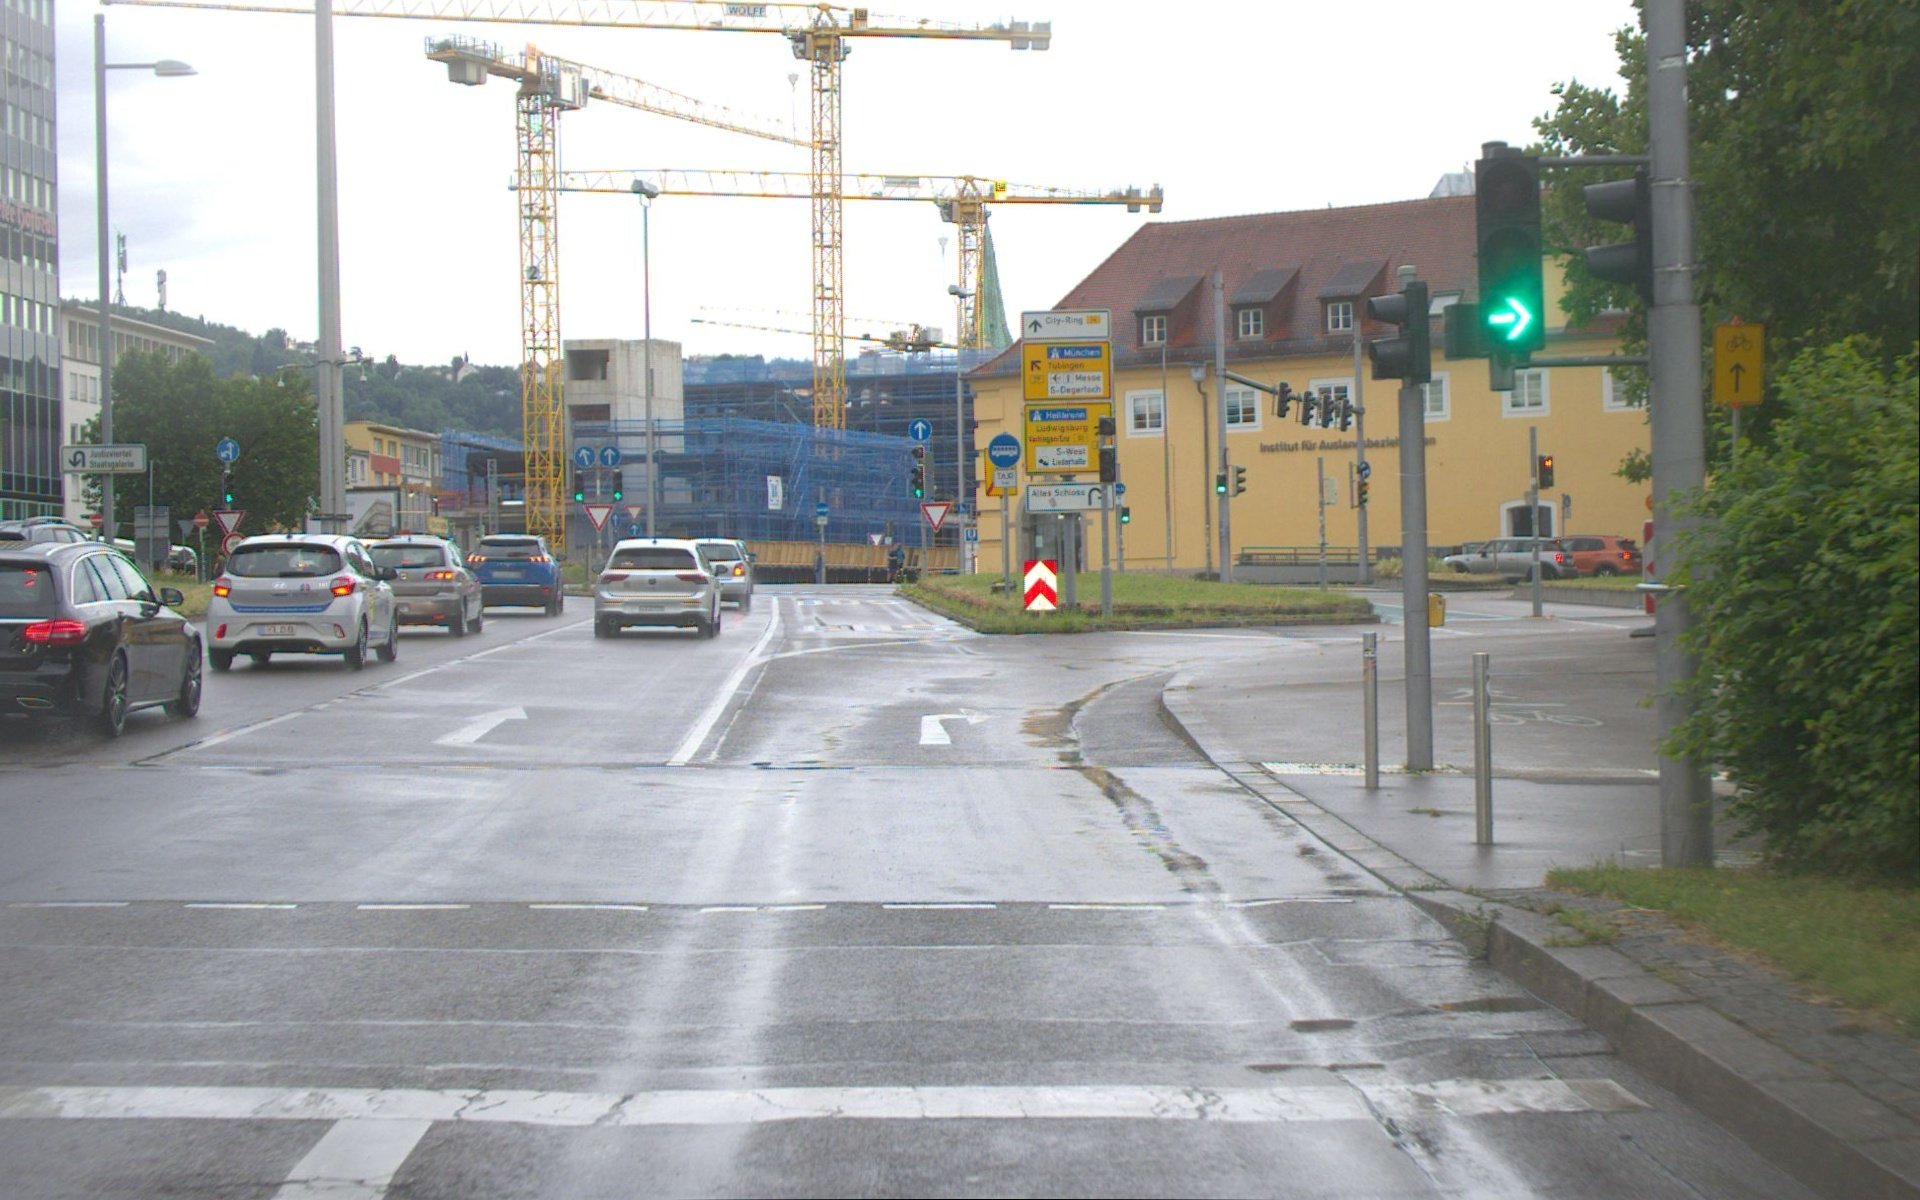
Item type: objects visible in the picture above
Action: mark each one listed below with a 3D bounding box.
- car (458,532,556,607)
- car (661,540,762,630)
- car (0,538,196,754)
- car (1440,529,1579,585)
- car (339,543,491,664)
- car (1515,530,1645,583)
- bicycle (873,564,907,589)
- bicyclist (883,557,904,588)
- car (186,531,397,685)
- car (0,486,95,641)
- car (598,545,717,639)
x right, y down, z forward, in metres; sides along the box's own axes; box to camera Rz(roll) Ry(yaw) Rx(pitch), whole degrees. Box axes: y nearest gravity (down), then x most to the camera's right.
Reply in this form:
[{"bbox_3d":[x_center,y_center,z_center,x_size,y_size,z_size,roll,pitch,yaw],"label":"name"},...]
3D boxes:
[{"bbox_3d":[-8.500,-0.561,64.640,1.493,1.365,3.033,0,0,-1],"label":"car"},{"bbox_3d":[-5.184,-0.332,71.976,1.667,1.735,3.287,1,3,4],"label":"car"},{"bbox_3d":[-7.047,0.292,25.745,1.830,1.489,3.399,0,1,1],"label":"car"},{"bbox_3d":[15.095,-1.172,94.370,3.406,1.477,1.832,0,0,25],"label":"car"},{"bbox_3d":[-7.981,0.060,50.583,1.716,1.721,3.494,0,0,-1],"label":"car"},{"bbox_3d":[17.904,-1.242,99.206,3.403,1.467,1.651,0,0,24],"label":"car"},{"bbox_3d":[-2.837,-0.949,139.498,0.880,1.006,1.993,0,0,-16],"label":"bicycle"},{"bbox_3d":[-2.705,-1.113,139.296,0.703,1.271,0.635,0,0,-16],"label":"bicyclist"},{"bbox_3d":[-7.466,0.093,38.677,1.880,1.647,3.458,0,0,-3],"label":"car"},{"bbox_3d":[-10.915,-0.393,39.159,1.464,1.700,3.141,0,0,-3],"label":"car"},{"bbox_3d":[-4.421,-0.108,50.539,1.444,1.354,2.412,0,0,2],"label":"car"}]
